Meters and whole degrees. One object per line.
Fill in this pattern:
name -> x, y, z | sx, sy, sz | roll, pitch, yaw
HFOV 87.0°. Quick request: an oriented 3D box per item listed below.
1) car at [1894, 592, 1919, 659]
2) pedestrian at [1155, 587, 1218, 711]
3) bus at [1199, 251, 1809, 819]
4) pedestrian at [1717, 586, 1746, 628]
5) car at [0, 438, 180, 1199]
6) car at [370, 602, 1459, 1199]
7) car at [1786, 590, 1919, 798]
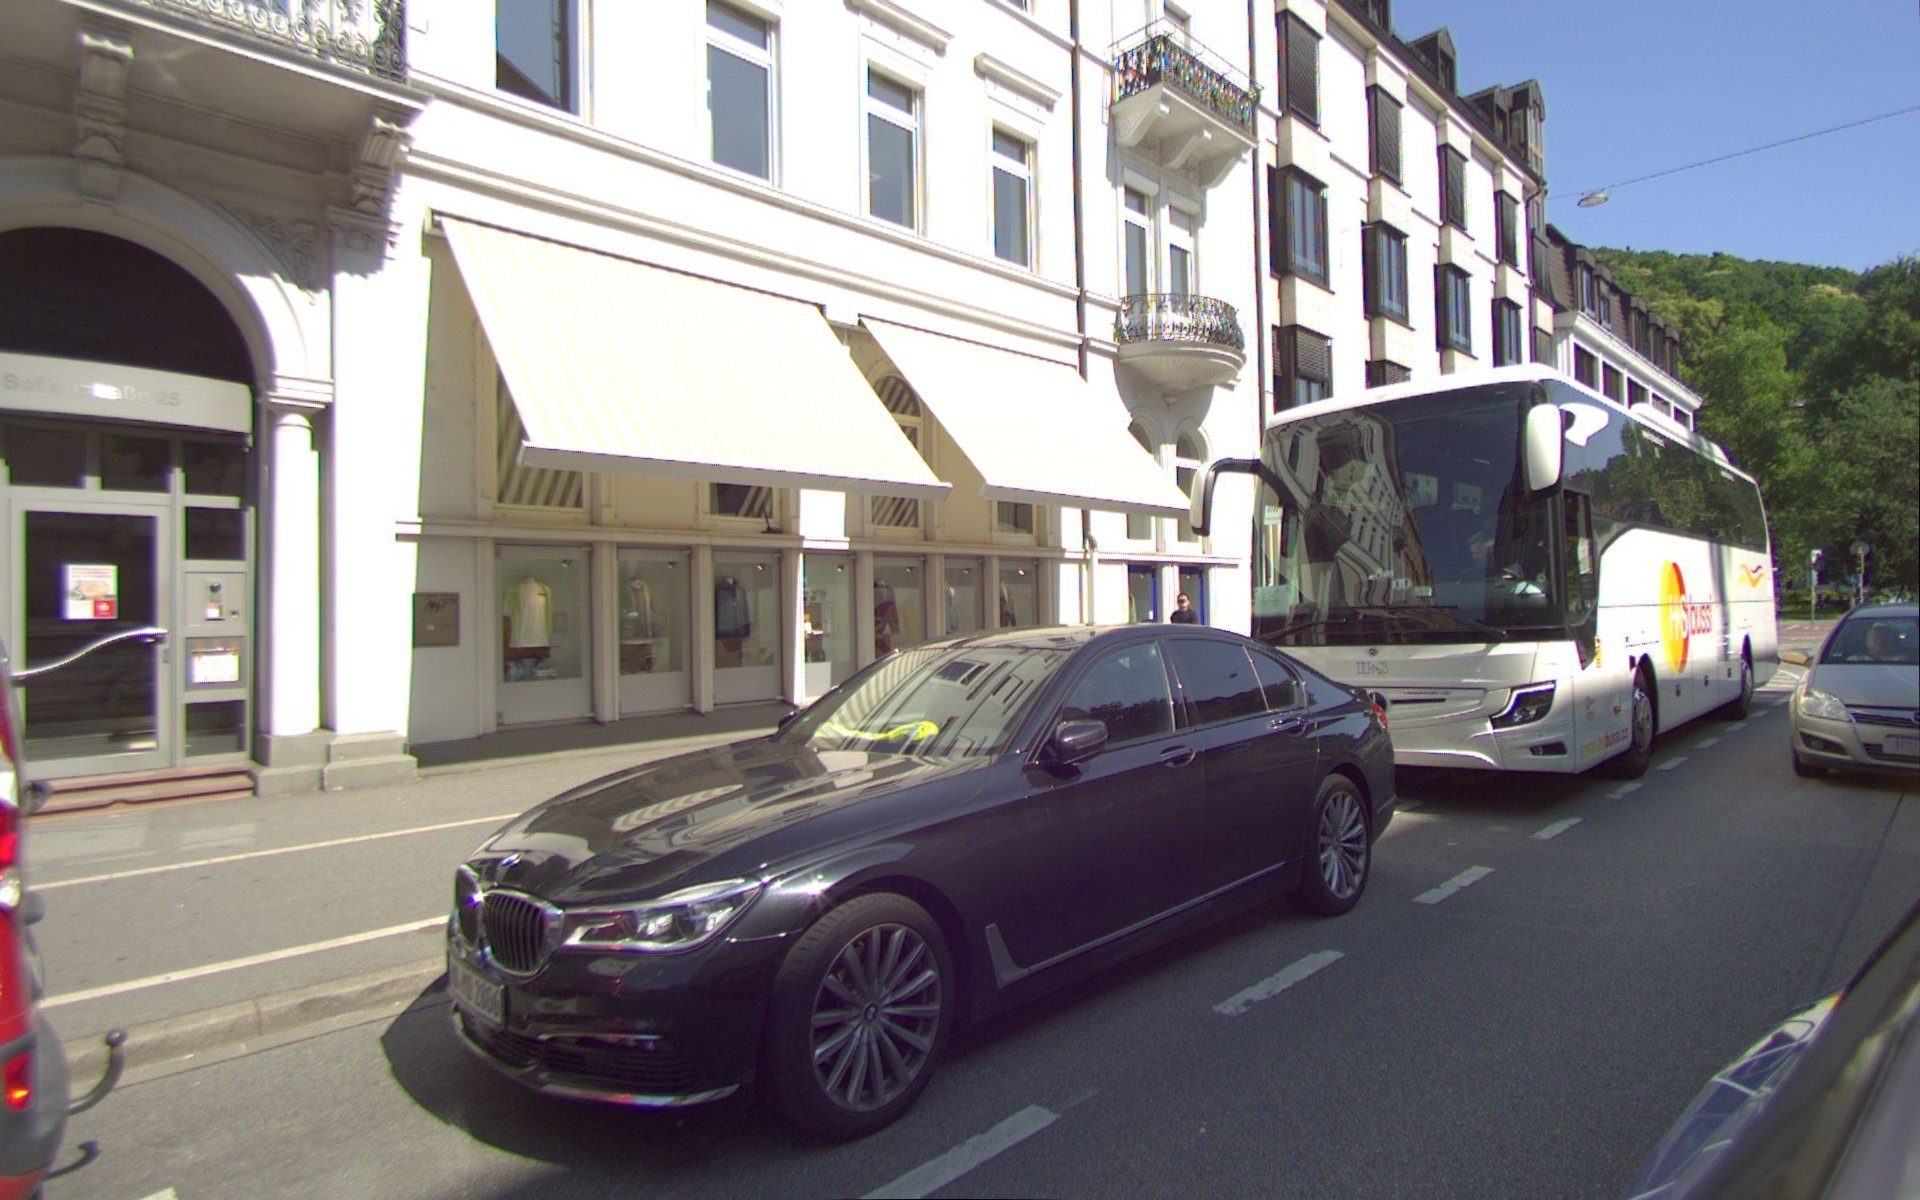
car -> 23.360, 0.544, 23.833 | 1.841, 1.447, 4.150 | -2, 0, 41
pedestrian -> 3.322, 0.694, 14.849 | 0.756, 1.753, 0.567 | 0, -1, -44
bus -> 7.475, -0.417, 12.098 | 2.881, 3.791, 12.225 | -5, -3, 45
pedestrian -> 34.900, 0.324, 45.783 | 0.683, 1.859, 0.835 | -2, 0, -35
car -> -3.791, 0.659, 1.224 | 1.825, 1.888, 4.287 | -4, -3, 42
car -> 0.348, 0.819, 4.768 | 5.138, 1.489, 1.860 | 0, -3, -43
car -> 8.739, 0.679, 8.938 | 4.334, 1.542, 1.708 | 0, -2, -44
